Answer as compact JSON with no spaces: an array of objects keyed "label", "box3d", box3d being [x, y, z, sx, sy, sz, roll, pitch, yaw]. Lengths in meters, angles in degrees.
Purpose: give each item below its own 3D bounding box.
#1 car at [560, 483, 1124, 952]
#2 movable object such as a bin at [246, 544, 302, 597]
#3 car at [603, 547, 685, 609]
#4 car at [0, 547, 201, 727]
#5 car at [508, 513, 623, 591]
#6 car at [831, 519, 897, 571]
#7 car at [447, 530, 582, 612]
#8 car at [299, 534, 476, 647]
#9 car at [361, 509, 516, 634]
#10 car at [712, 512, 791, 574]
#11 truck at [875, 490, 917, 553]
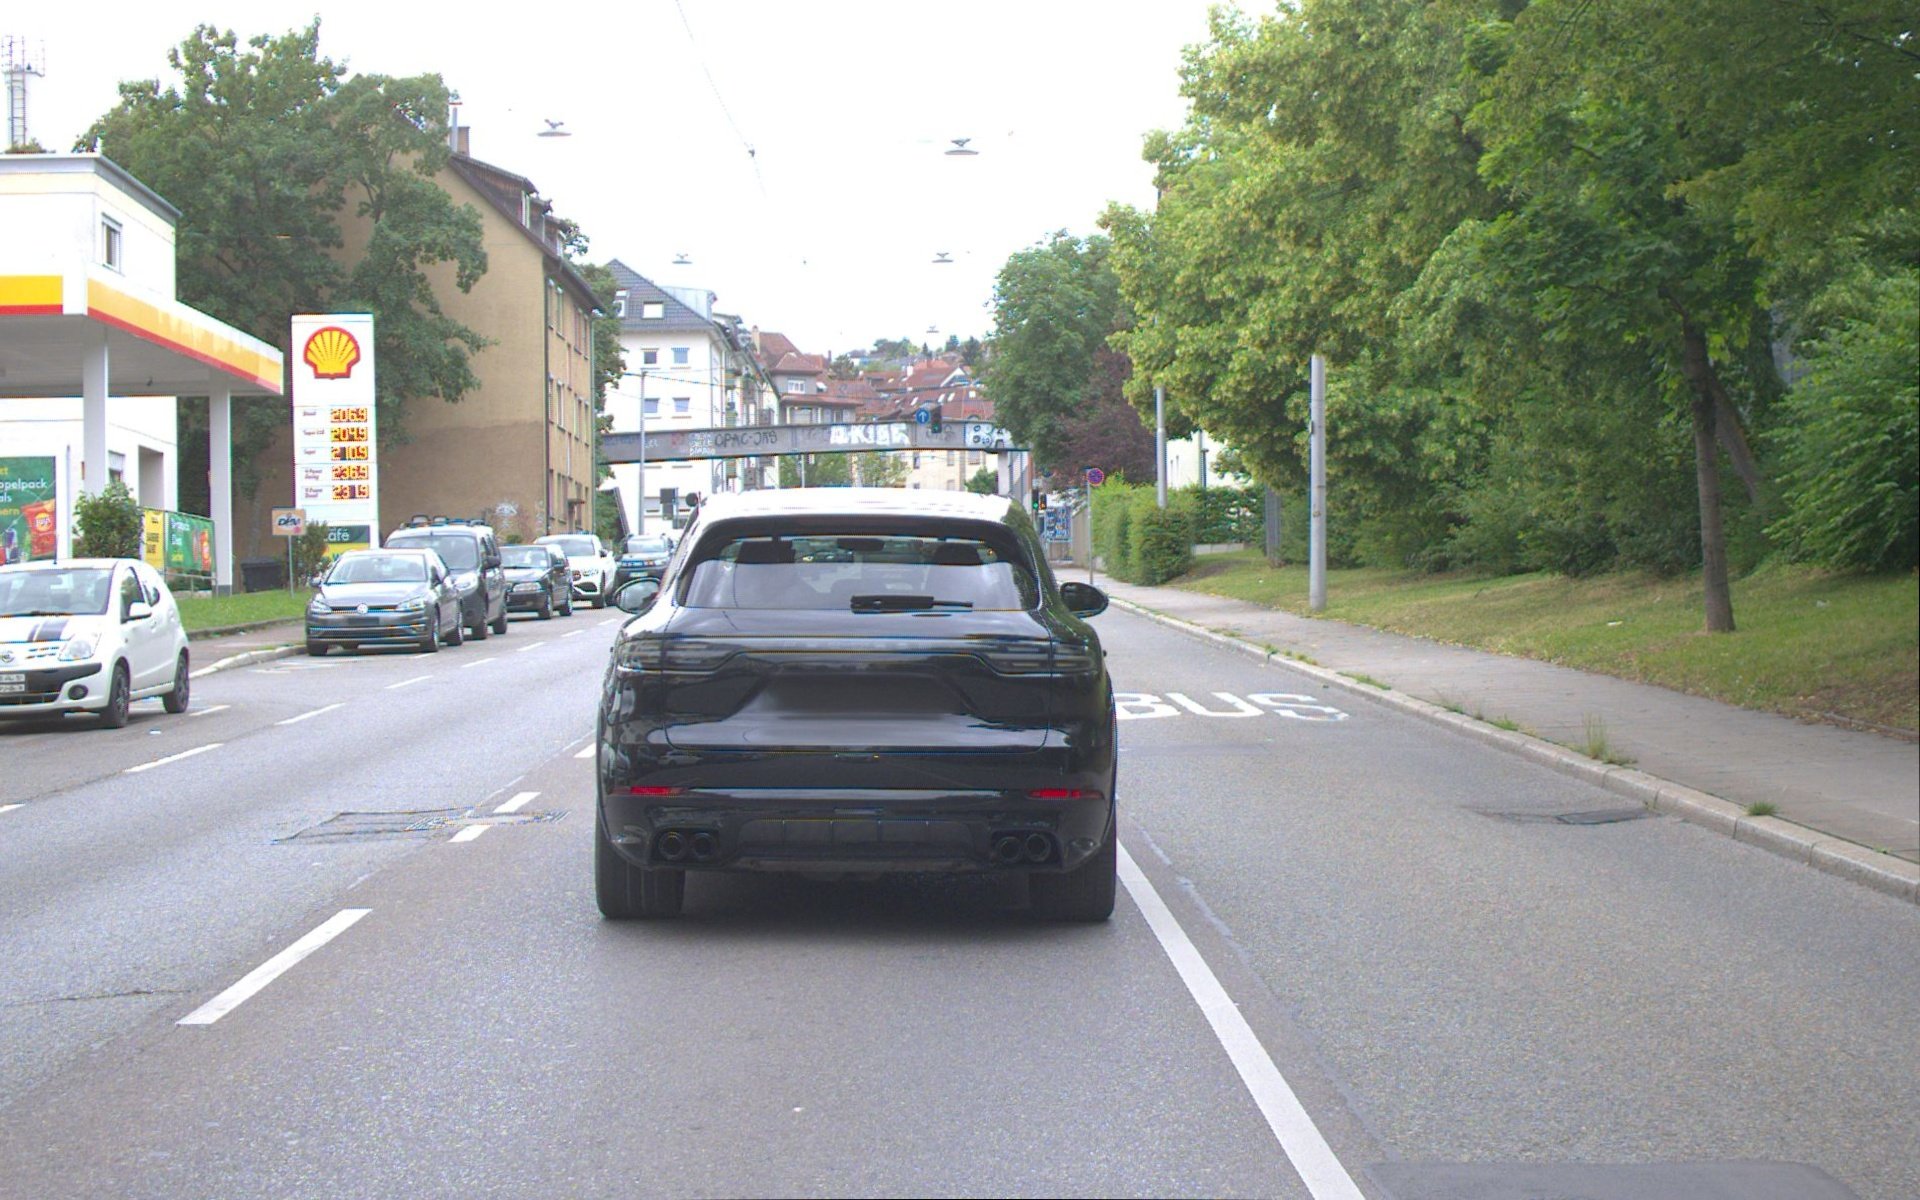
[{"label":"car","box3d":[-0.430,0.352,14.180,1.993,1.656,4.001,0,2,0]},{"label":"movable object such as a bin","box3d":[-18.776,-0.807,94.121,1.392,1.423,0.913,0,1,-3]},{"label":"car","box3d":[-8.834,-0.634,96.380,1.783,1.603,4.265,-3,1,1]},{"label":"car","box3d":[-7.926,0.289,30.362,1.619,1.420,3.665,-1,2,0]},{"label":"car","box3d":[-8.521,-1.060,74.591,1.915,1.572,4.700,-1,1,0]},{"label":"car","box3d":[-2.668,-1.556,96.230,1.741,1.395,4.001,0,2,0]},{"label":"car","box3d":[-8.435,-0.577,65.449,1.798,1.426,4.743,-2,1,1]},{"label":"car","box3d":[-8.010,-0.169,48.405,1.790,1.445,4.218,-2,1,-1]},{"label":"car","box3d":[-8.152,-0.480,54.079,1.851,1.829,4.703,-2,1,-2]},{"label":"car","box3d":[-5.356,-1.482,88.743,1.797,1.520,4.000,-2,1,-1]},{"label":"truck","box3d":[-3.540,-4.326,190.616,2.266,3.412,9.879,-1,1,-1]}]
